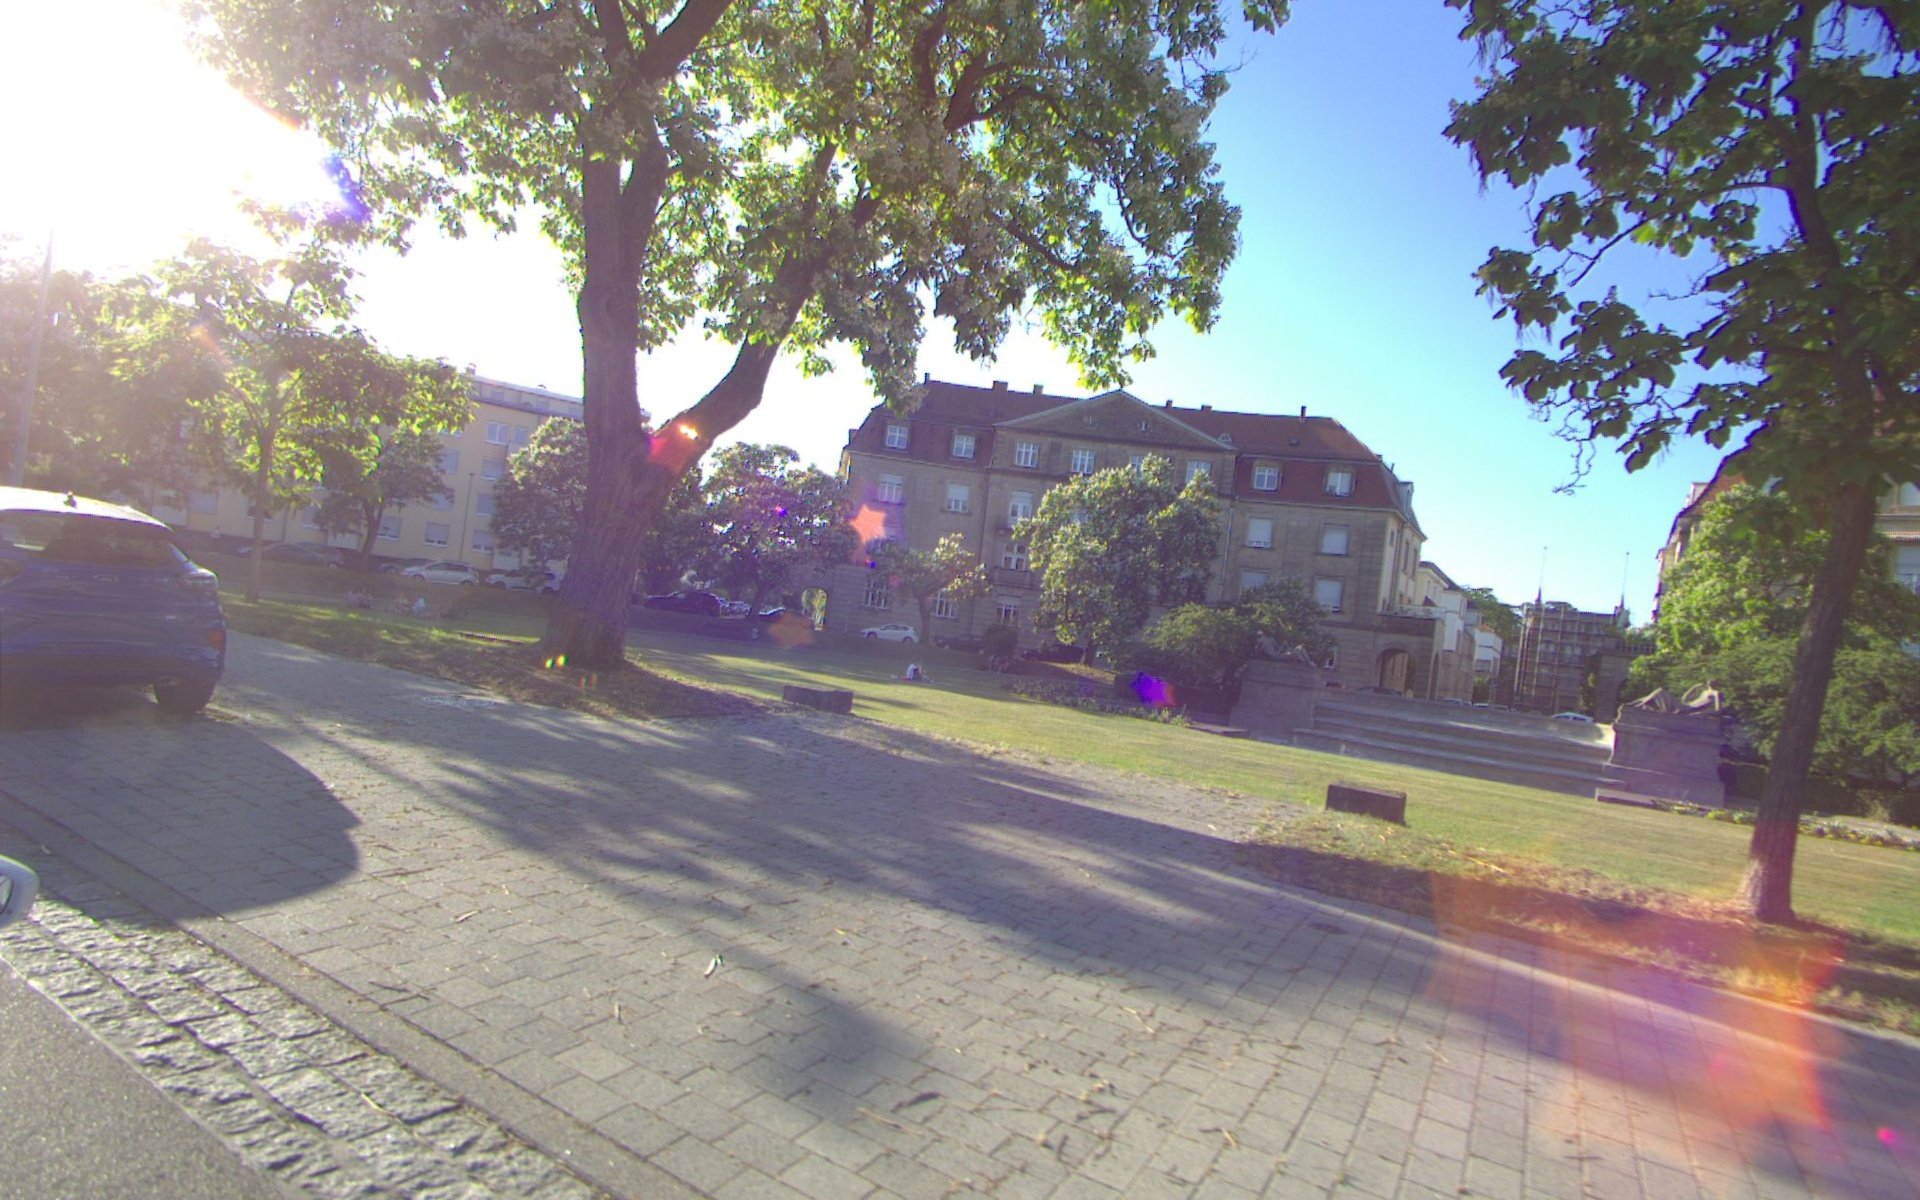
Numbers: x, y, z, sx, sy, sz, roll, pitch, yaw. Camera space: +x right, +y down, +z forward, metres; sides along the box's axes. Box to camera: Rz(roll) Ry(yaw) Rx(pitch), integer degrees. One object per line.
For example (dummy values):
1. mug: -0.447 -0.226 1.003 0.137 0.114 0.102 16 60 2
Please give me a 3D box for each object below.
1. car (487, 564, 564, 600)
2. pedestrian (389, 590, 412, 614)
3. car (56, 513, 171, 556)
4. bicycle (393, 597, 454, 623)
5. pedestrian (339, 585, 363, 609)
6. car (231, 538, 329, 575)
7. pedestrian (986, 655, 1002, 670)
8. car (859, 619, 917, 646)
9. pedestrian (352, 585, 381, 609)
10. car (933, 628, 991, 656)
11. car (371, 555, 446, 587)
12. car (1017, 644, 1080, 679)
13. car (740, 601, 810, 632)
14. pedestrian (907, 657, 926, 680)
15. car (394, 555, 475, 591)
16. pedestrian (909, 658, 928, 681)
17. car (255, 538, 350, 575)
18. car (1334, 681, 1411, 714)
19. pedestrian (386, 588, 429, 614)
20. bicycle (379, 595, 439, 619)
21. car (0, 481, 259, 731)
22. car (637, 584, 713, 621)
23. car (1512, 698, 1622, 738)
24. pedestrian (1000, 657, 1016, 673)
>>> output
1. car: -28.760 -1.151 66.670 4.468 1.766 1.870 8 -1 -24
2. pedestrian: -22.069 0.070 39.685 0.602 0.822 0.473 7 -2 33
3. car: -41.831 -3.222 49.766 4.184 1.480 1.672 9 -2 -44
4. bicycle: -19.536 0.367 36.629 1.756 0.622 1.796 9 -2 -34
5. pedestrian: -22.952 -0.106 37.903 0.602 0.822 0.473 7 -2 33
6. car: -36.837 -2.341 54.534 4.176 1.373 1.675 8 -2 -38
7. pedestrian: 1.913 3.513 56.520 0.655 0.803 0.587 7 -1 20
8. car: -5.213 2.356 73.136 3.926 1.470 1.881 7 -1 0
9. pedestrian: -23.178 -0.112 39.296 0.712 0.822 0.612 7 -2 33
10. car: 0.144 3.052 73.218 3.924 1.470 1.882 7 -1 5
11. car: -34.636 -1.798 63.195 3.958 1.470 1.866 8 -2 -31
12. car: 5.859 4.086 66.919 3.925 1.725 2.003 8 -2 4
13. car: -12.127 1.105 66.260 4.292 1.470 1.879 7 -1 -7
14. pedestrian: -1.723 2.703 39.585 0.578 0.803 0.666 7 -1 -11
15. car: -30.650 -1.551 58.702 3.959 1.570 1.598 8 -2 -32
16. pedestrian: -1.608 2.696 38.910 0.578 0.803 0.666 7 -1 -11
17. car: -39.383 -2.597 60.288 4.494 1.588 1.860 8 -2 -40
18. car: 25.187 5.975 61.485 4.028 1.434 1.816 6 -2 32
19. pedestrian: -21.393 0.059 38.973 1.240 0.822 0.573 9 -2 -13
20. bicycle: -20.627 0.261 37.637 1.756 0.622 1.796 9 -2 -34
21. car: -7.538 -0.092 7.900 4.205 1.569 1.734 6 -1 32
22. car: -18.169 0.180 64.363 4.456 1.766 1.875 8 -1 -15
23. car: 33.398 6.467 55.409 4.877 1.434 1.813 6 -2 39
24. pedestrian: 2.683 3.623 56.268 0.655 0.803 0.587 7 -1 20
